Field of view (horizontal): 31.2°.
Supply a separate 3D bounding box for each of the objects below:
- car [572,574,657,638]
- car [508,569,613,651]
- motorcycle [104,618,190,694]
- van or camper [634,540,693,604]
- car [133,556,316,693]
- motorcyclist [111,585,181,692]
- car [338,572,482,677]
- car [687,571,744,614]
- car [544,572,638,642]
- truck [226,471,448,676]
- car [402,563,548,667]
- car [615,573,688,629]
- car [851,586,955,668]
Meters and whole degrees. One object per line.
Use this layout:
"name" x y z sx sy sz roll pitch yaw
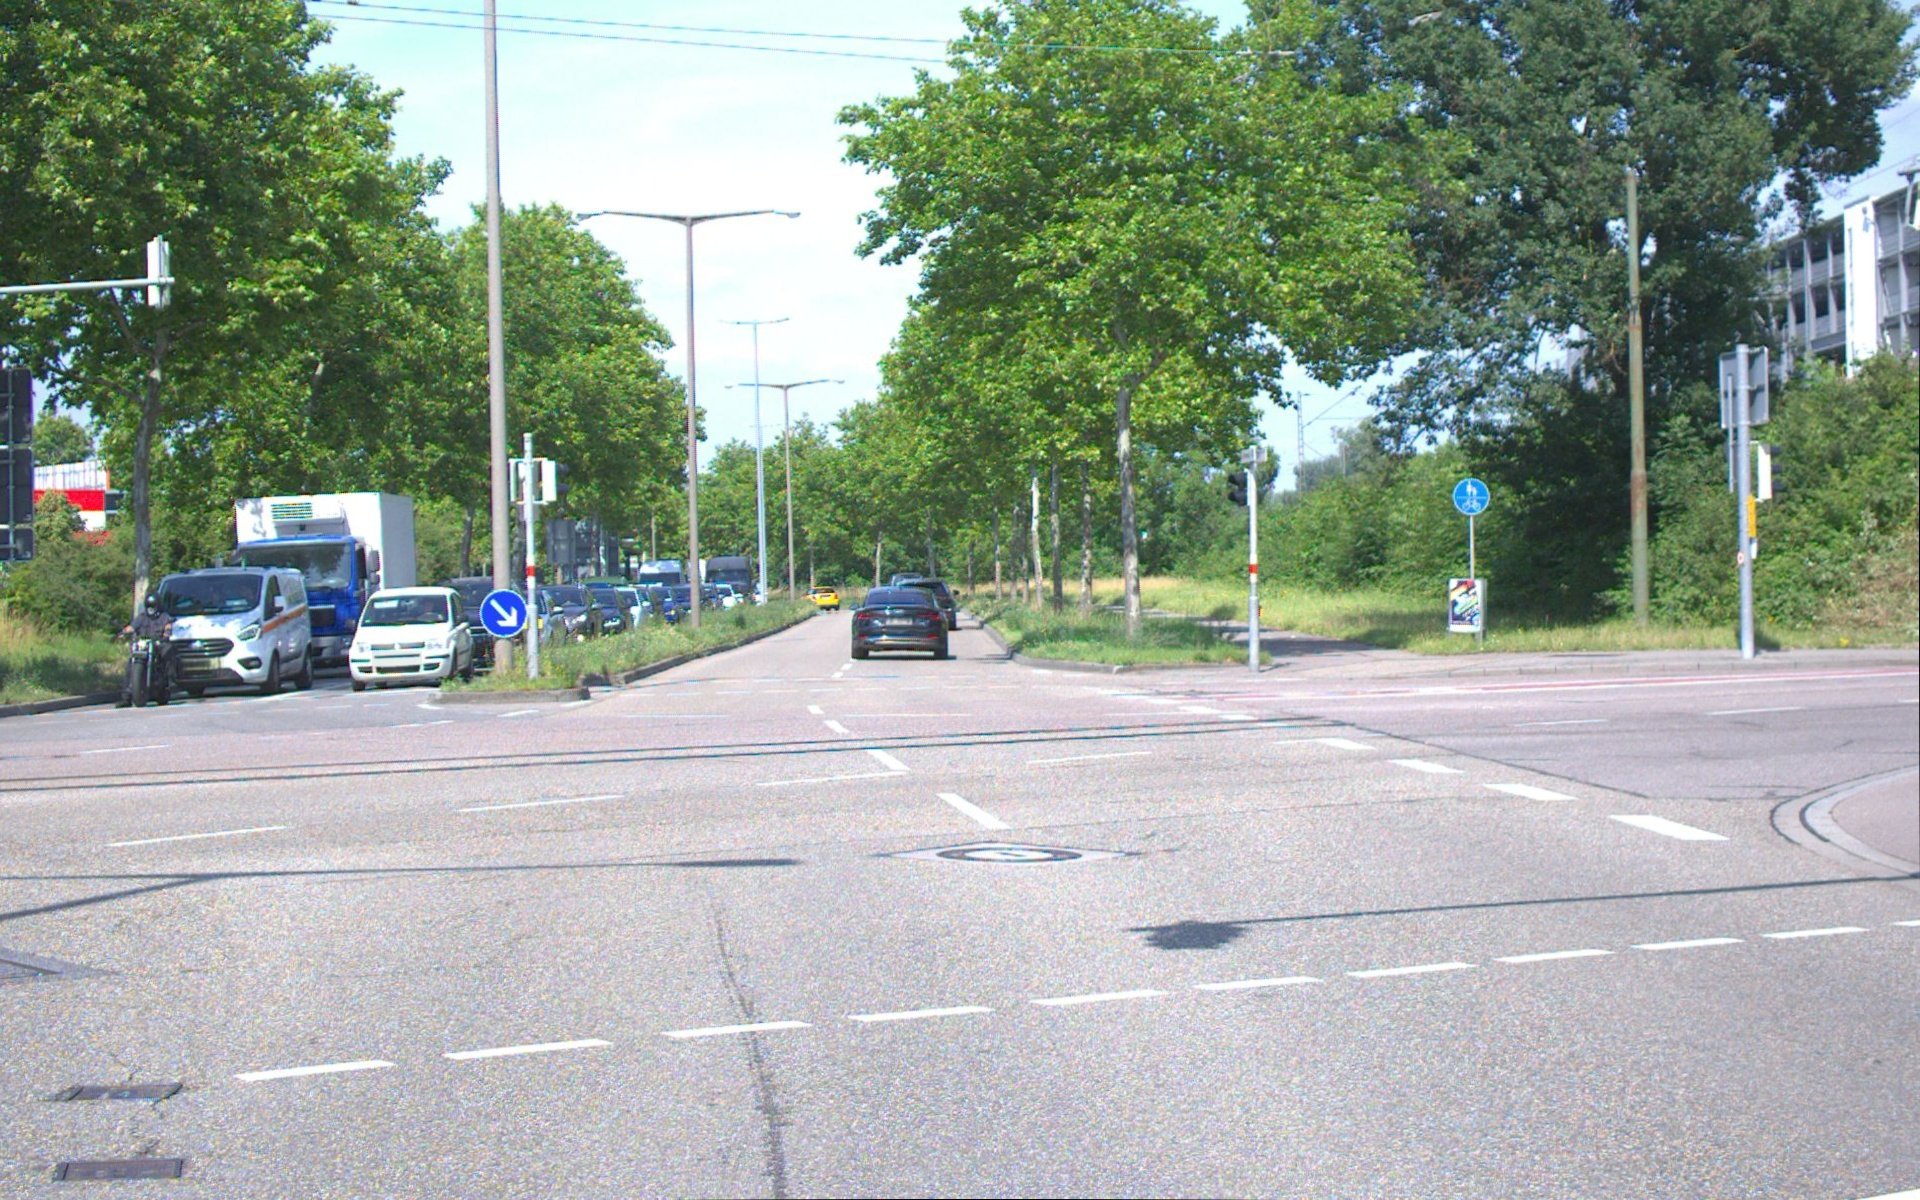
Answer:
"car" -8.509 0.121 84.872 1.689 1.467 3.815 -2 1 -1
"car" -8.327 0.184 71.937 1.689 1.581 4.240 -2 1 -1
"motorcycle" -11.380 0.775 48.156 0.688 0.988 2.217 -1 1 -1
"van or camper" -12.611 -1.206 146.366 2.015 2.579 5.517 -2 1 -1
"car" -11.336 0.330 53.288 1.976 1.992 5.032 -1 1 -3
"motorcyclist" -11.417 0.530 48.248 0.743 1.465 0.987 -1 1 -1
"car" -8.375 0.346 52.570 1.593 1.472 3.729 -2 1 -1
"car" -8.877 -0.286 125.196 1.783 1.454 4.472 -2 1 -1
"car" -8.464 0.141 79.235 1.689 1.468 4.218 -3 1 -1
"truck" -11.412 -0.524 63.564 2.804 3.459 6.692 -3 1 -1
"car" -8.188 0.255 58.427 1.820 1.641 4.694 -2 0 -1
"car" -8.734 0.017 97.567 1.784 1.484 4.211 -2 1 -2
"car" -1.126 0.488 66.350 1.908 1.458 4.622 -1 1 -2
